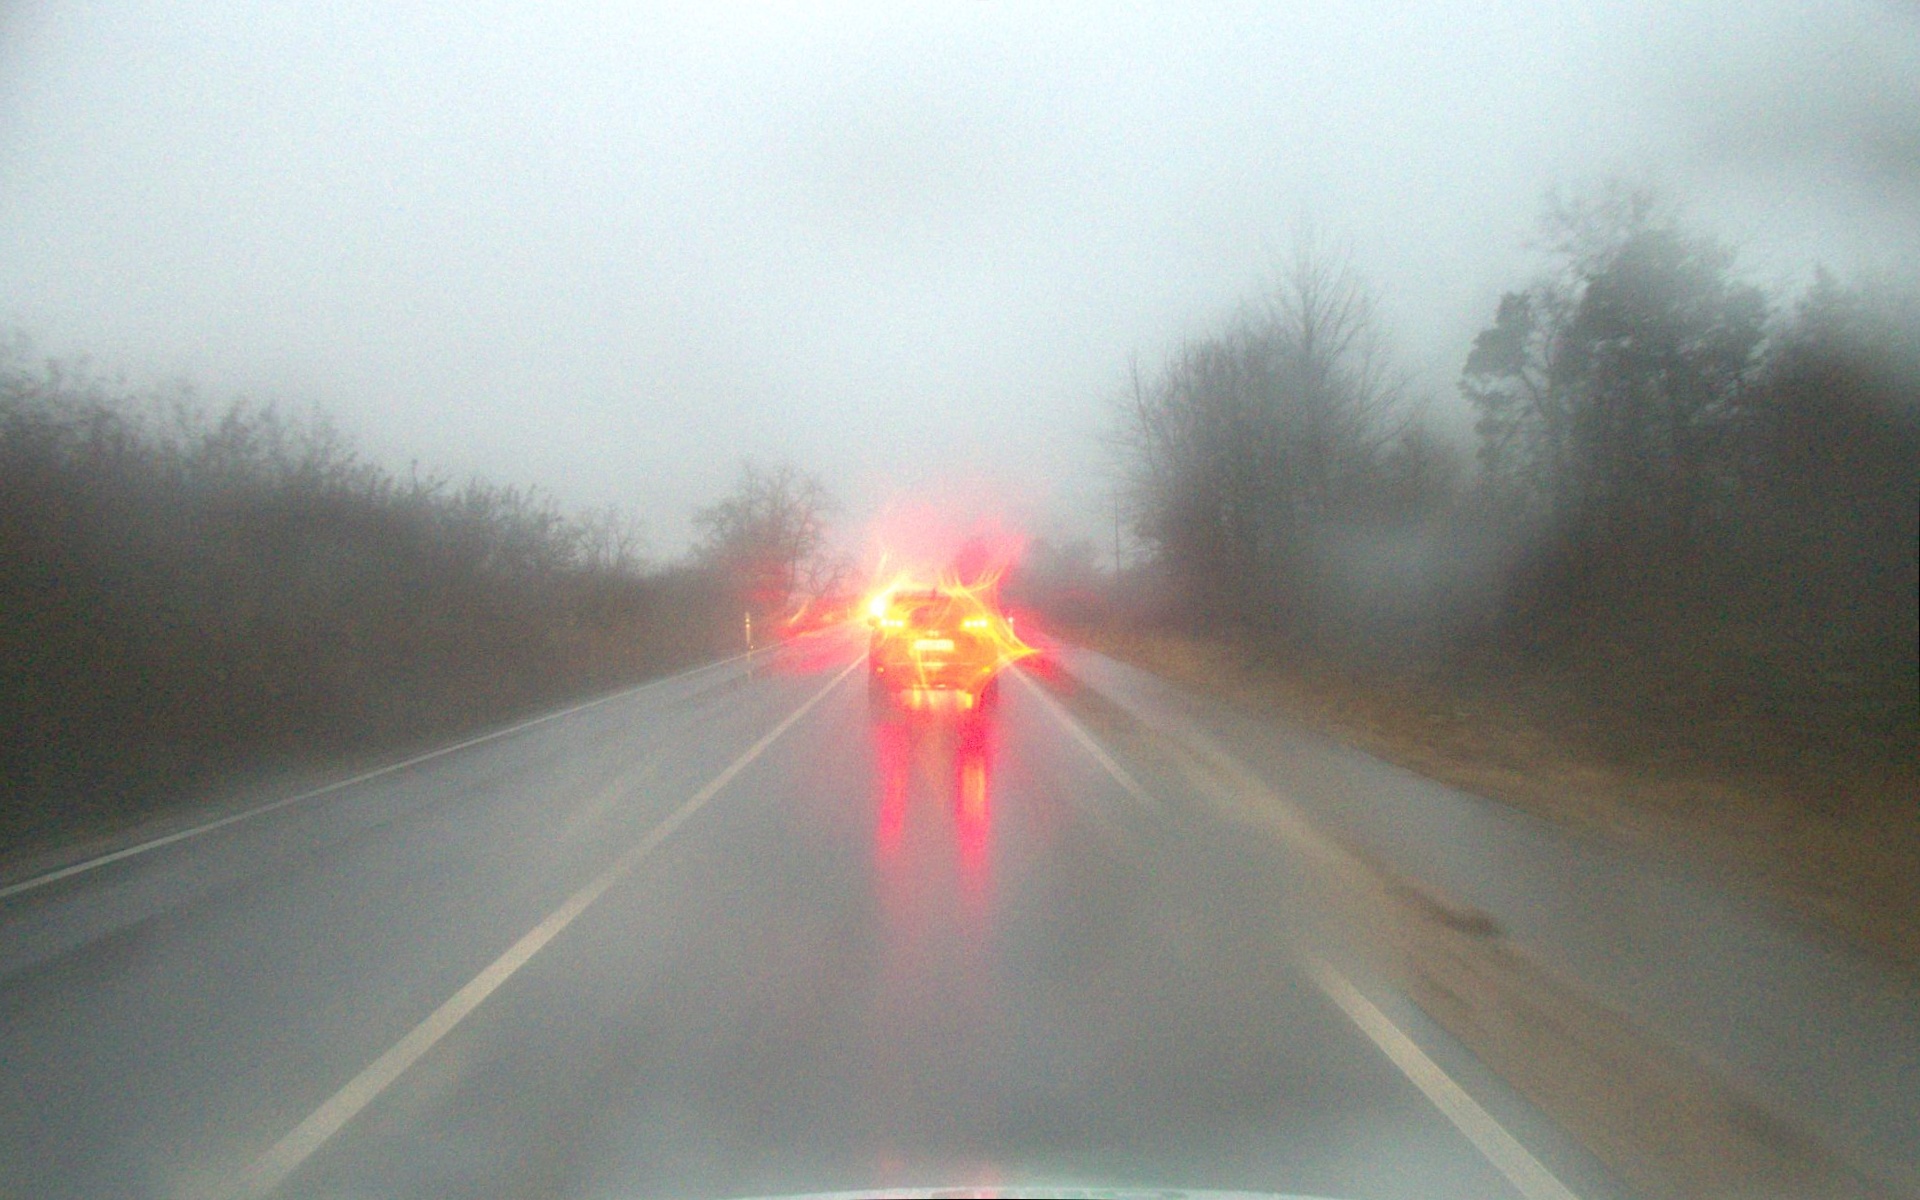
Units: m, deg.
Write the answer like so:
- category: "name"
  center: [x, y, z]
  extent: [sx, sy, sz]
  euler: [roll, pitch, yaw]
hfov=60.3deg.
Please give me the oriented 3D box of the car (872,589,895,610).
- category: "car"
  center: [-5.630, -0.047, 121.991]
  extent: [1.599, 1.482, 3.981]
  euler: [-2, 0, -2]

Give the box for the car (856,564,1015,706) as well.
- category: "car"
  center: [-0.350, 0.453, 24.280]
  extent: [2.077, 1.852, 4.979]
  euler: [0, 0, -1]
